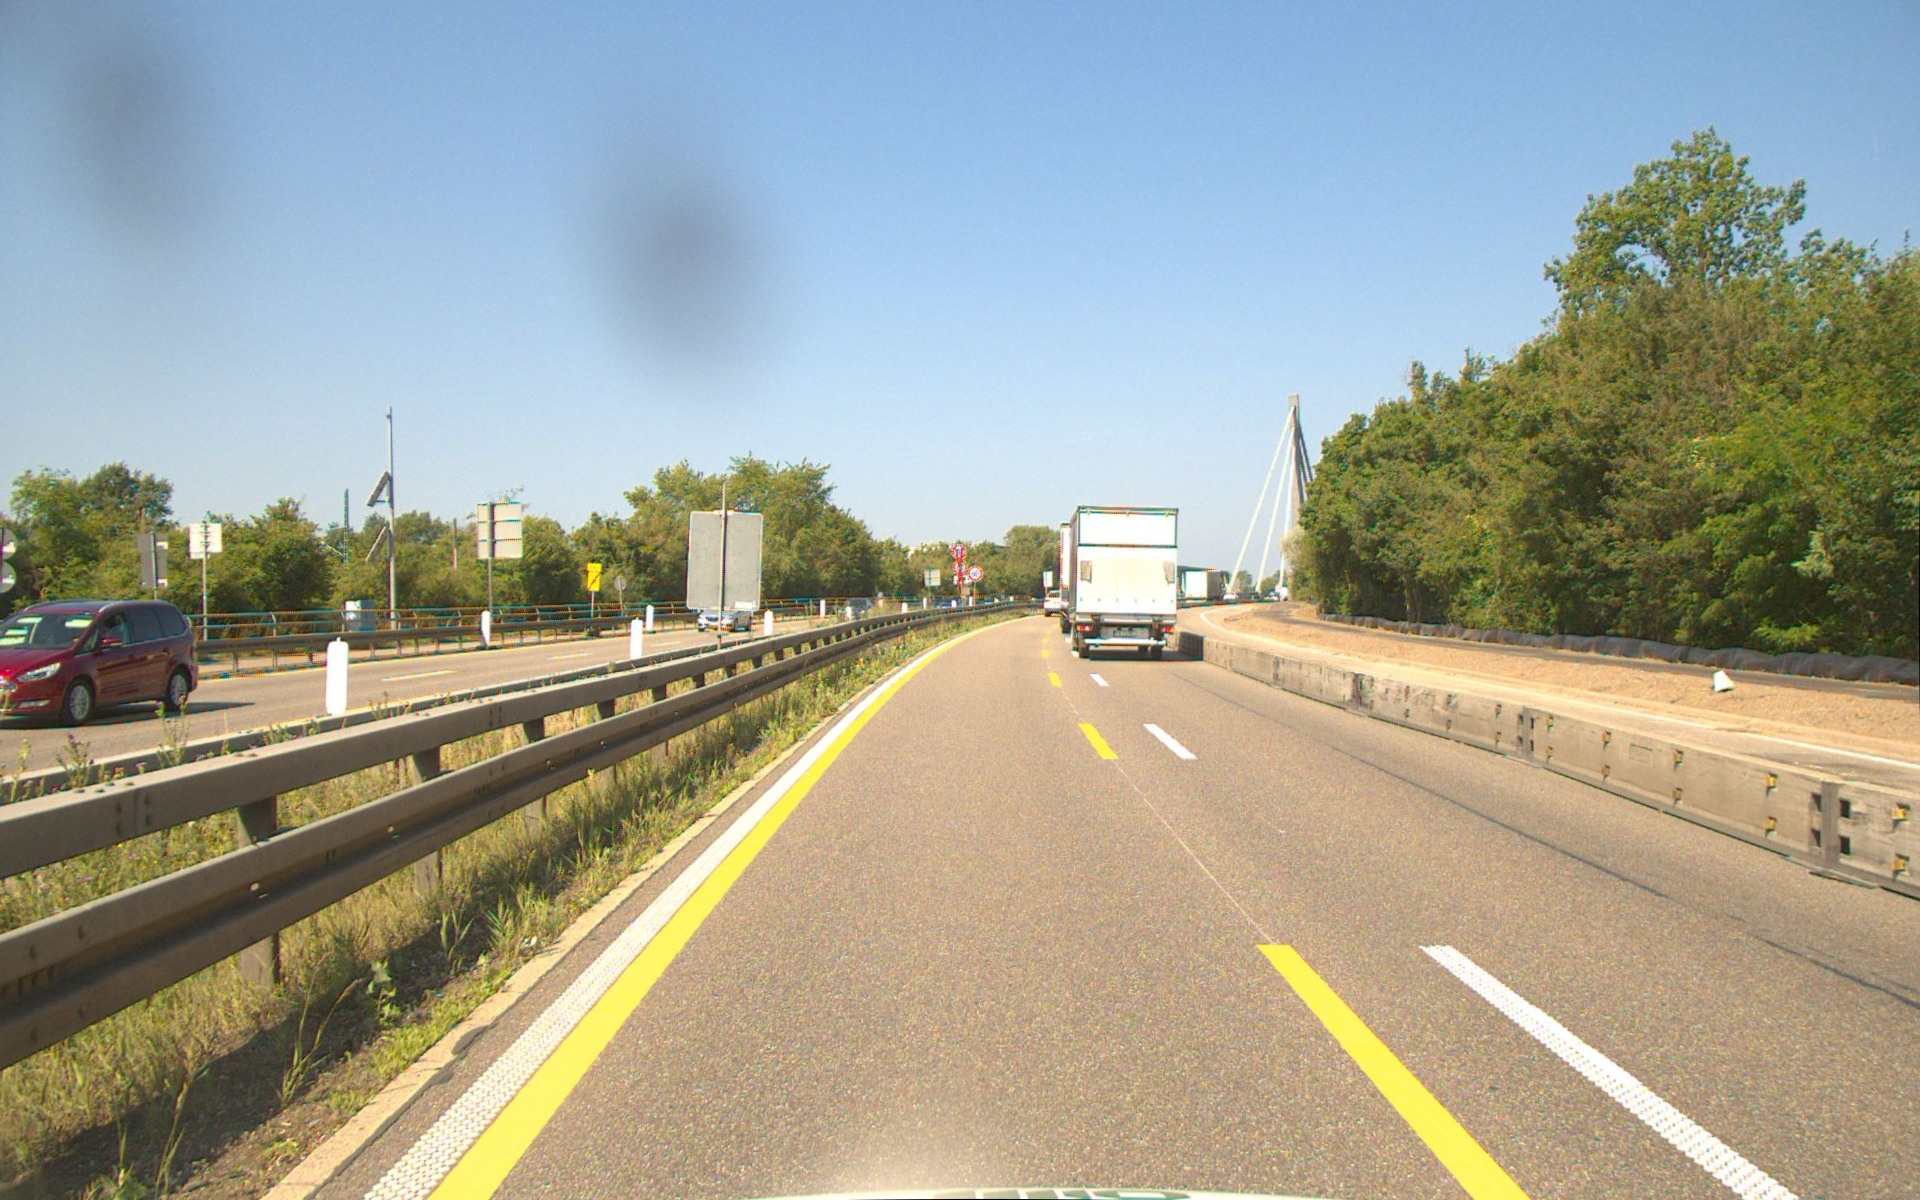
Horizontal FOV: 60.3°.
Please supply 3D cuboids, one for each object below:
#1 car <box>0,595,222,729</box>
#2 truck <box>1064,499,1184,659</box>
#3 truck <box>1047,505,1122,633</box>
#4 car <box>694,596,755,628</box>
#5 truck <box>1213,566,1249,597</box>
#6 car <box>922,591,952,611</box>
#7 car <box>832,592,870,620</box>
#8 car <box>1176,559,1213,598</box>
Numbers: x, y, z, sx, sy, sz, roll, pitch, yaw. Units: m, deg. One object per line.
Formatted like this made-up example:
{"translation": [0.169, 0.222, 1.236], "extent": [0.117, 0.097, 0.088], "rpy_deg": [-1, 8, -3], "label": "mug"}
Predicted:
{"translation": [-13.284, 0.853, 24.972], "extent": [1.869, 1.765, 5.021], "rpy_deg": [-2, 0, 2], "label": "car"}
{"translation": [3.858, -0.494, 40.137], "extent": [2.579, 3.487, 7.236], "rpy_deg": [1, 0, 4], "label": "truck"}
{"translation": [4.681, -1.140, 63.228], "extent": [2.579, 4.547, 7.235], "rpy_deg": [1, 0, 3], "label": "truck"}
{"translation": [-11.240, 0.564, 79.369], "extent": [1.845, 1.445, 4.862], "rpy_deg": [-1, 0, 5], "label": "car"}
{"translation": [40.859, -2.852, 249.106], "extent": [4.130, 4.341, 10.249], "rpy_deg": [-2, 1, 15], "label": "truck"}
{"translation": [-1.831, 0.065, 132.917], "extent": [1.951, 1.579, 4.002], "rpy_deg": [-1, 0, 5], "label": "car"}
{"translation": [-6.358, 0.336, 96.872], "extent": [1.701, 1.524, 4.002], "rpy_deg": [-1, 0, 3], "label": "car"}
{"translation": [28.125, -2.579, 197.979], "extent": [4.117, 4.325, 10.671], "rpy_deg": [-2, 1, 9], "label": "car"}
